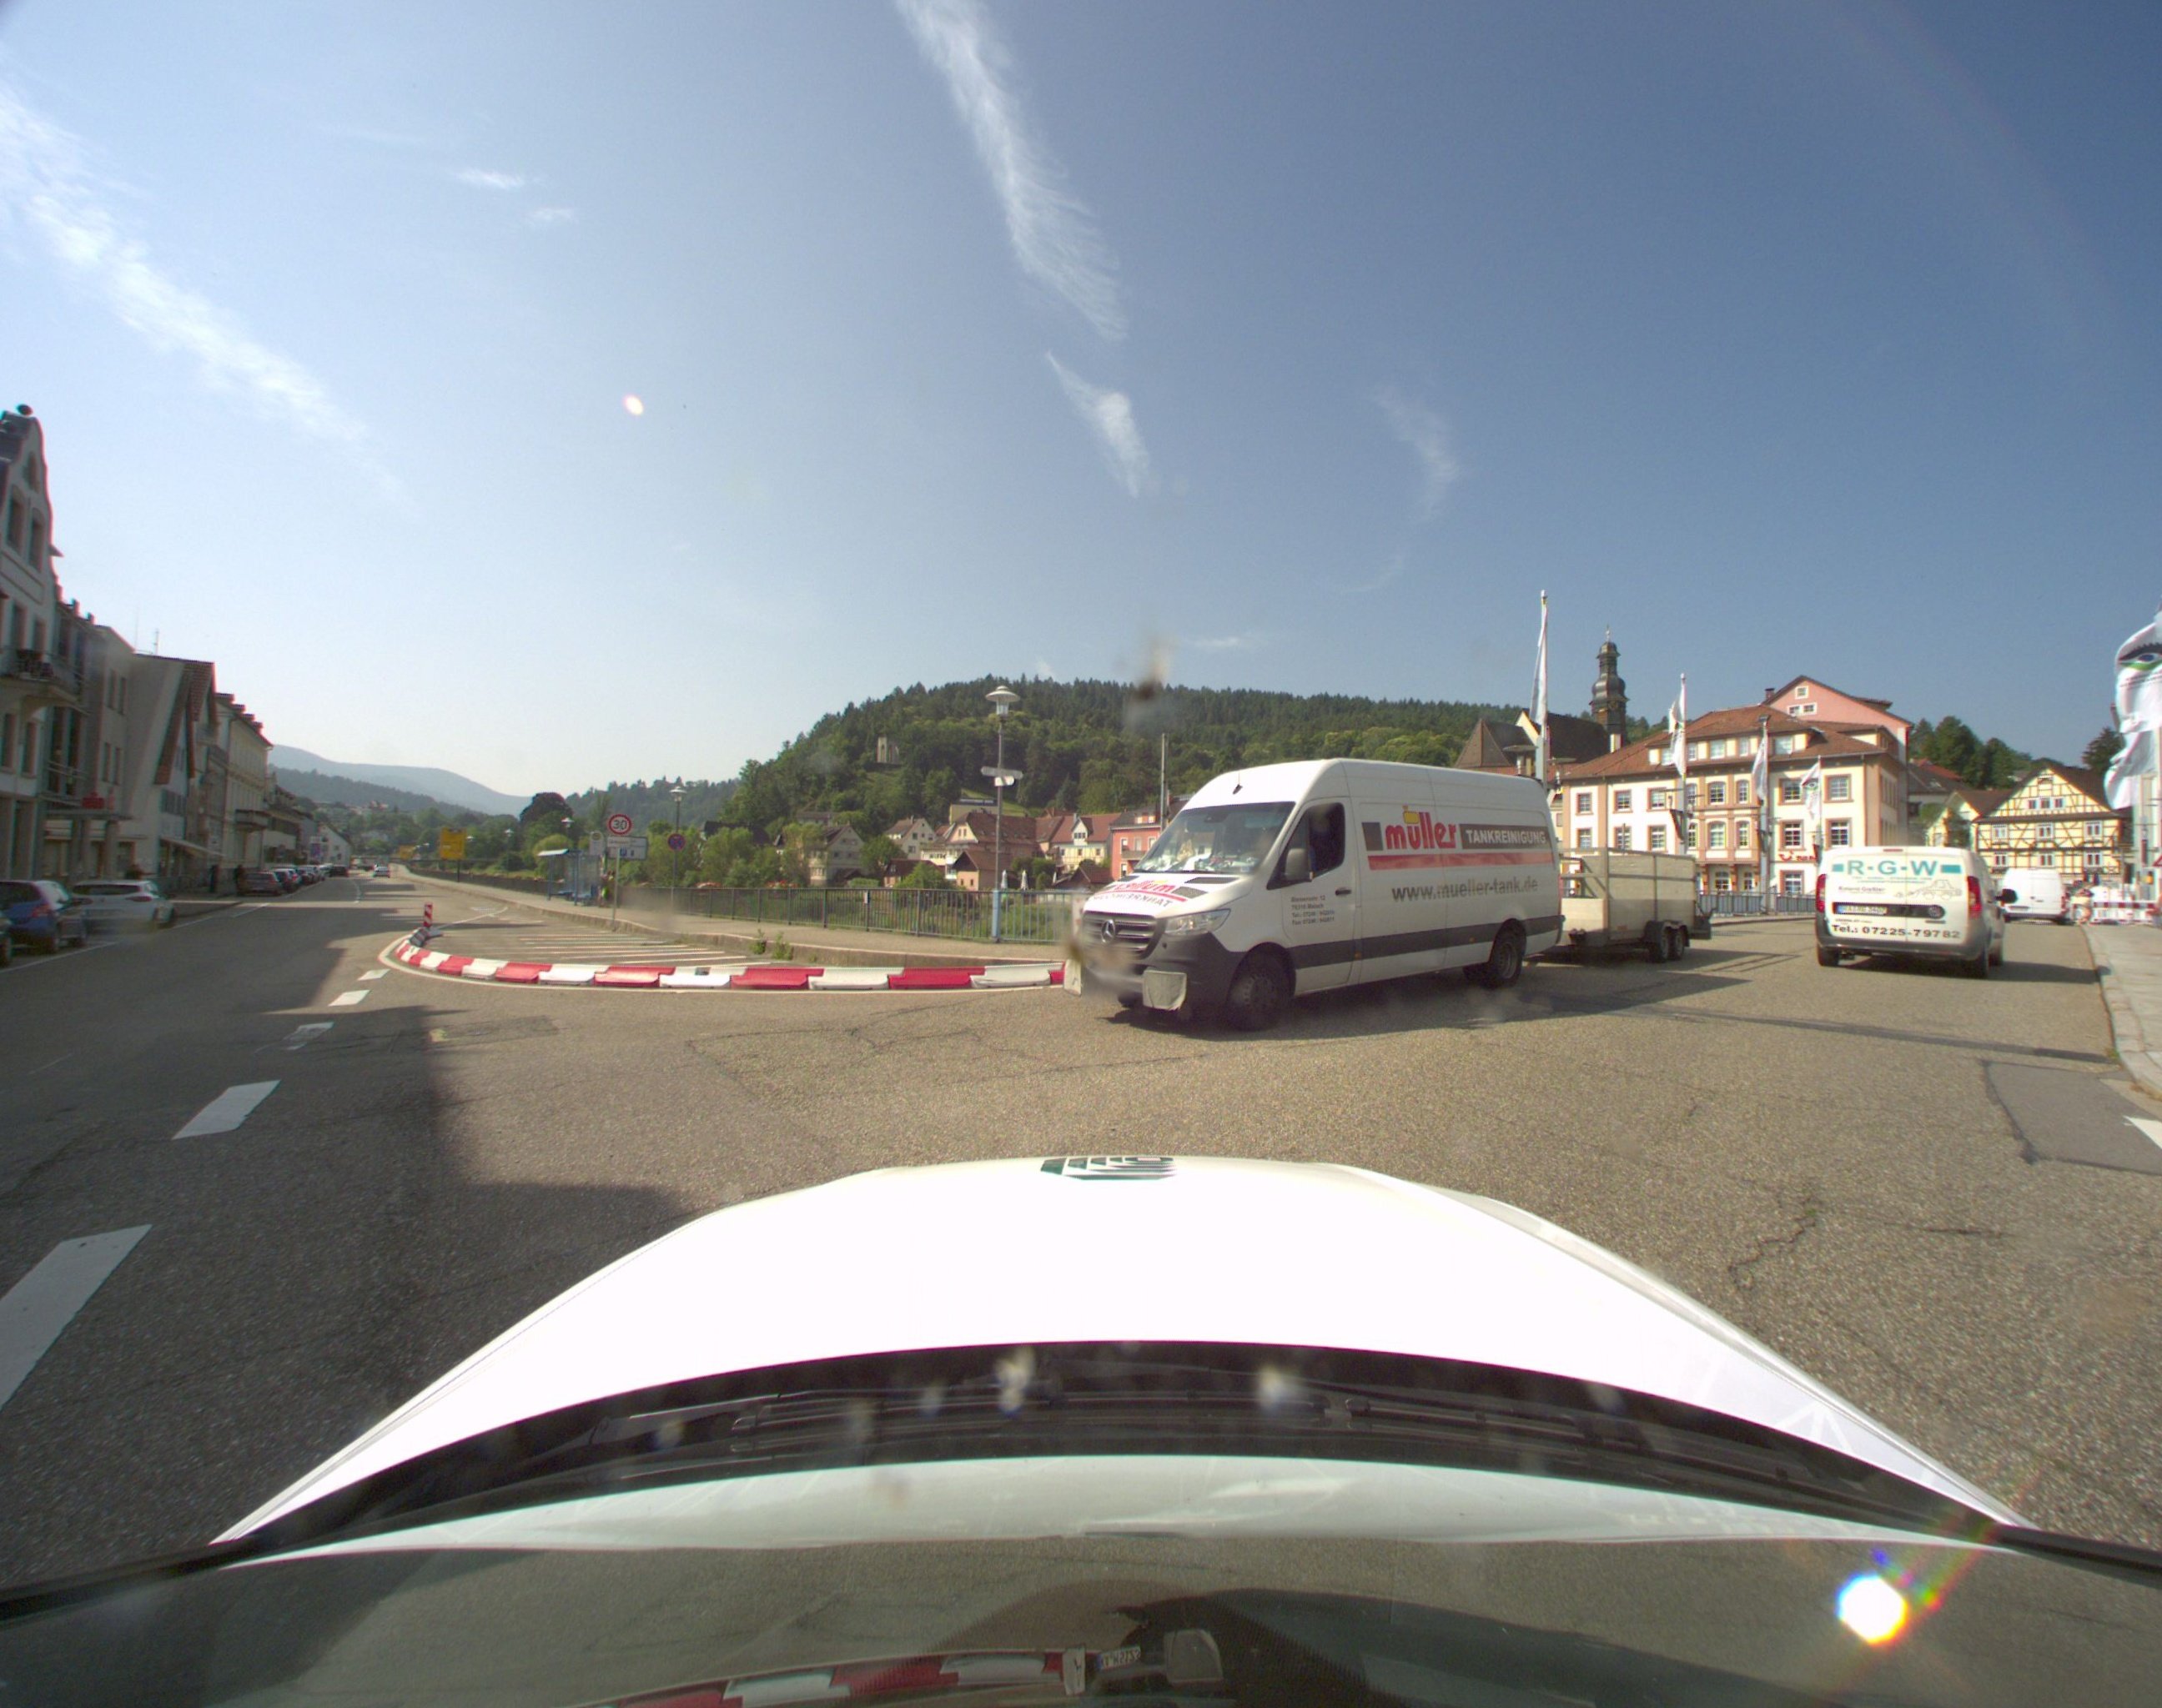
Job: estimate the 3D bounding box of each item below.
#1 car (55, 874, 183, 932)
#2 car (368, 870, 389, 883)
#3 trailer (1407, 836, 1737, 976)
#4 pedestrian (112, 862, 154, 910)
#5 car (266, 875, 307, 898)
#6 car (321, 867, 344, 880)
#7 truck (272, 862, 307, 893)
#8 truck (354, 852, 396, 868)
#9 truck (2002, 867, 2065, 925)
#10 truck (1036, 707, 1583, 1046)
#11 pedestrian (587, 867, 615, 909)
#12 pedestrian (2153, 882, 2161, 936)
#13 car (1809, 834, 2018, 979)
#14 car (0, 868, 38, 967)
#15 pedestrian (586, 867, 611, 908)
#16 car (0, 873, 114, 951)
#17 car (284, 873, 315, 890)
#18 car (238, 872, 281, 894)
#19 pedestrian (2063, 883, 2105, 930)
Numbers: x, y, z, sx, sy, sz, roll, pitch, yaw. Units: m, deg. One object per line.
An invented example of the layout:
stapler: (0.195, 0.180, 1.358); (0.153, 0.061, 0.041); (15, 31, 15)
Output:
car: (-26.753, 1.307, 22.784); (1.762, 1.448, 3.749); (2, -2, -42)
car: (-94.209, 3.022, 109.302); (2.010, 1.662, 3.953); (4, -3, -40)
trailer: (8.173, 0.749, 13.367); (5.661, 1.828, 2.590); (1, -2, -35)
pedestrian: (-34.467, 1.164, 29.610); (0.689, 1.697, 0.656); (1, -2, -13)
car: (-53.260, 2.141, 54.632); (1.762, 1.448, 3.237); (2, -2, -42)
car: (-98.879, 2.595, 107.613); (2.010, 1.662, 3.953); (4, -3, -40)
truck: (-64.541, 1.879, 66.444); (1.762, 2.468, 4.605); (2, -2, -42)
truck: (-148.899, 1.300, 171.924); (3.078, 3.264, 9.151); (1, -2, -17)
truck: (45.192, 1.990, 38.620); (4.281, 2.585, 1.846); (3, -2, -40)
truck: (3.057, 0.207, 9.440); (7.164, 2.699, 2.089); (0, -1, -36)
pedestrian: (-20.070, 1.423, 34.054); (0.873, 1.706, 0.768); (3, -3, -39)
pedestrian: (32.623, 1.657, 24.286); (0.659, 1.618, 0.567); (0, -2, 39)
car: (13.177, 0.780, 12.817); (4.334, 1.906, 1.829); (3, -2, -38)
car: (-17.886, 0.990, 12.369); (1.862, 1.568, 3.525); (2, -2, -42)
pedestrian: (-20.481, 1.429, 34.555); (0.795, 1.706, 0.486); (3, -3, -39)
car: (-21.382, 1.127, 16.535); (1.762, 1.448, 3.237); (2, -2, -42)
car: (-68.255, 2.417, 71.158); (1.762, 1.448, 3.237); (2, -2, -42)
car: (-49.823, 1.746, 49.431); (1.577, 1.220, 3.237); (2, -2, -42)
pedestrian: (38.125, 1.971, 30.957); (0.739, 1.723, 0.731); (1, -1, 20)
